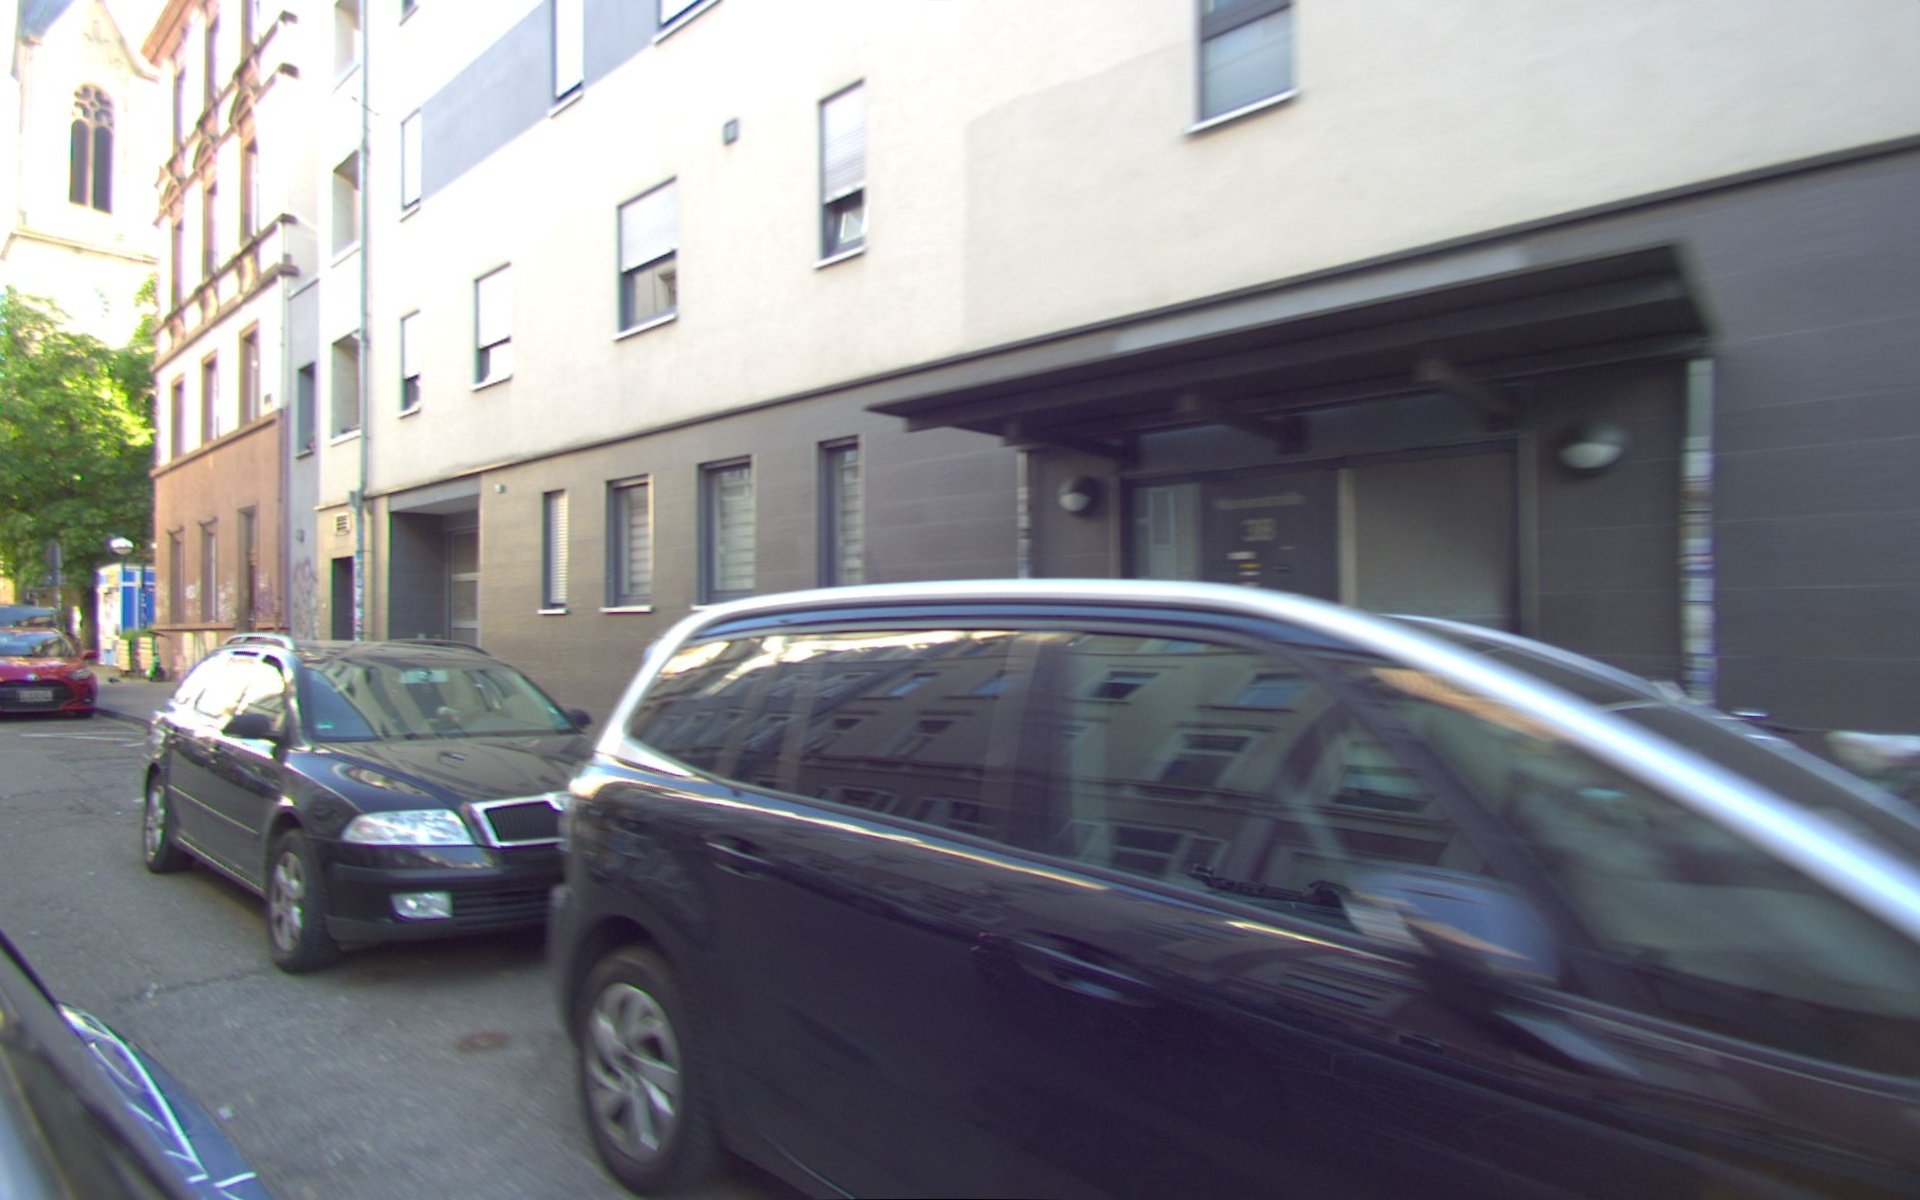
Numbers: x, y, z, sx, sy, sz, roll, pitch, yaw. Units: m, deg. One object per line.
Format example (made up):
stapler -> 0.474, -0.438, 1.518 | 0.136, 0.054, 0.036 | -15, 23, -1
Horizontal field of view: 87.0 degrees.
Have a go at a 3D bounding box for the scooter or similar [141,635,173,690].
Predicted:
scooter or similar -> -19.018, 1.466, 23.960 | 1.391, 1.225, 0.344 | -1, 0, 41

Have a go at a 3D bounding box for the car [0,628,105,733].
car -> -15.535, 1.242, 16.569 | 3.867, 1.533, 1.732 | -1, -4, 41

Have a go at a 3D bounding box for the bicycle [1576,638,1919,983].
bicycle -> 3.357, 0.734, 3.740 | 1.773, 1.173, 0.484 | -2, -4, 42

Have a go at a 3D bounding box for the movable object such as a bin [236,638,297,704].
movable object such as a bin -> -11.983, 1.217, 17.501 | 0.501, 1.075, 0.728 | -1, 0, 10

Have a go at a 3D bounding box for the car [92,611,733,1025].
car -> -3.383, 0.909, 5.803 | 4.496, 1.490, 1.699 | -3, -5, 41

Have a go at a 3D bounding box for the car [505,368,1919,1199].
car -> 0.835, 0.668, 2.265 | 4.243, 1.663, 1.699 | -3, -5, 41

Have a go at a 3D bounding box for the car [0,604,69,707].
car -> -19.689, 1.096, 20.445 | 5.296, 1.893, 1.999 | -2, -1, 43

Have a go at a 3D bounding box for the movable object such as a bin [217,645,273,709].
movable object such as a bin -> -12.710, 1.357, 18.009 | 0.748, 1.075, 0.653 | -1, 0, -29
